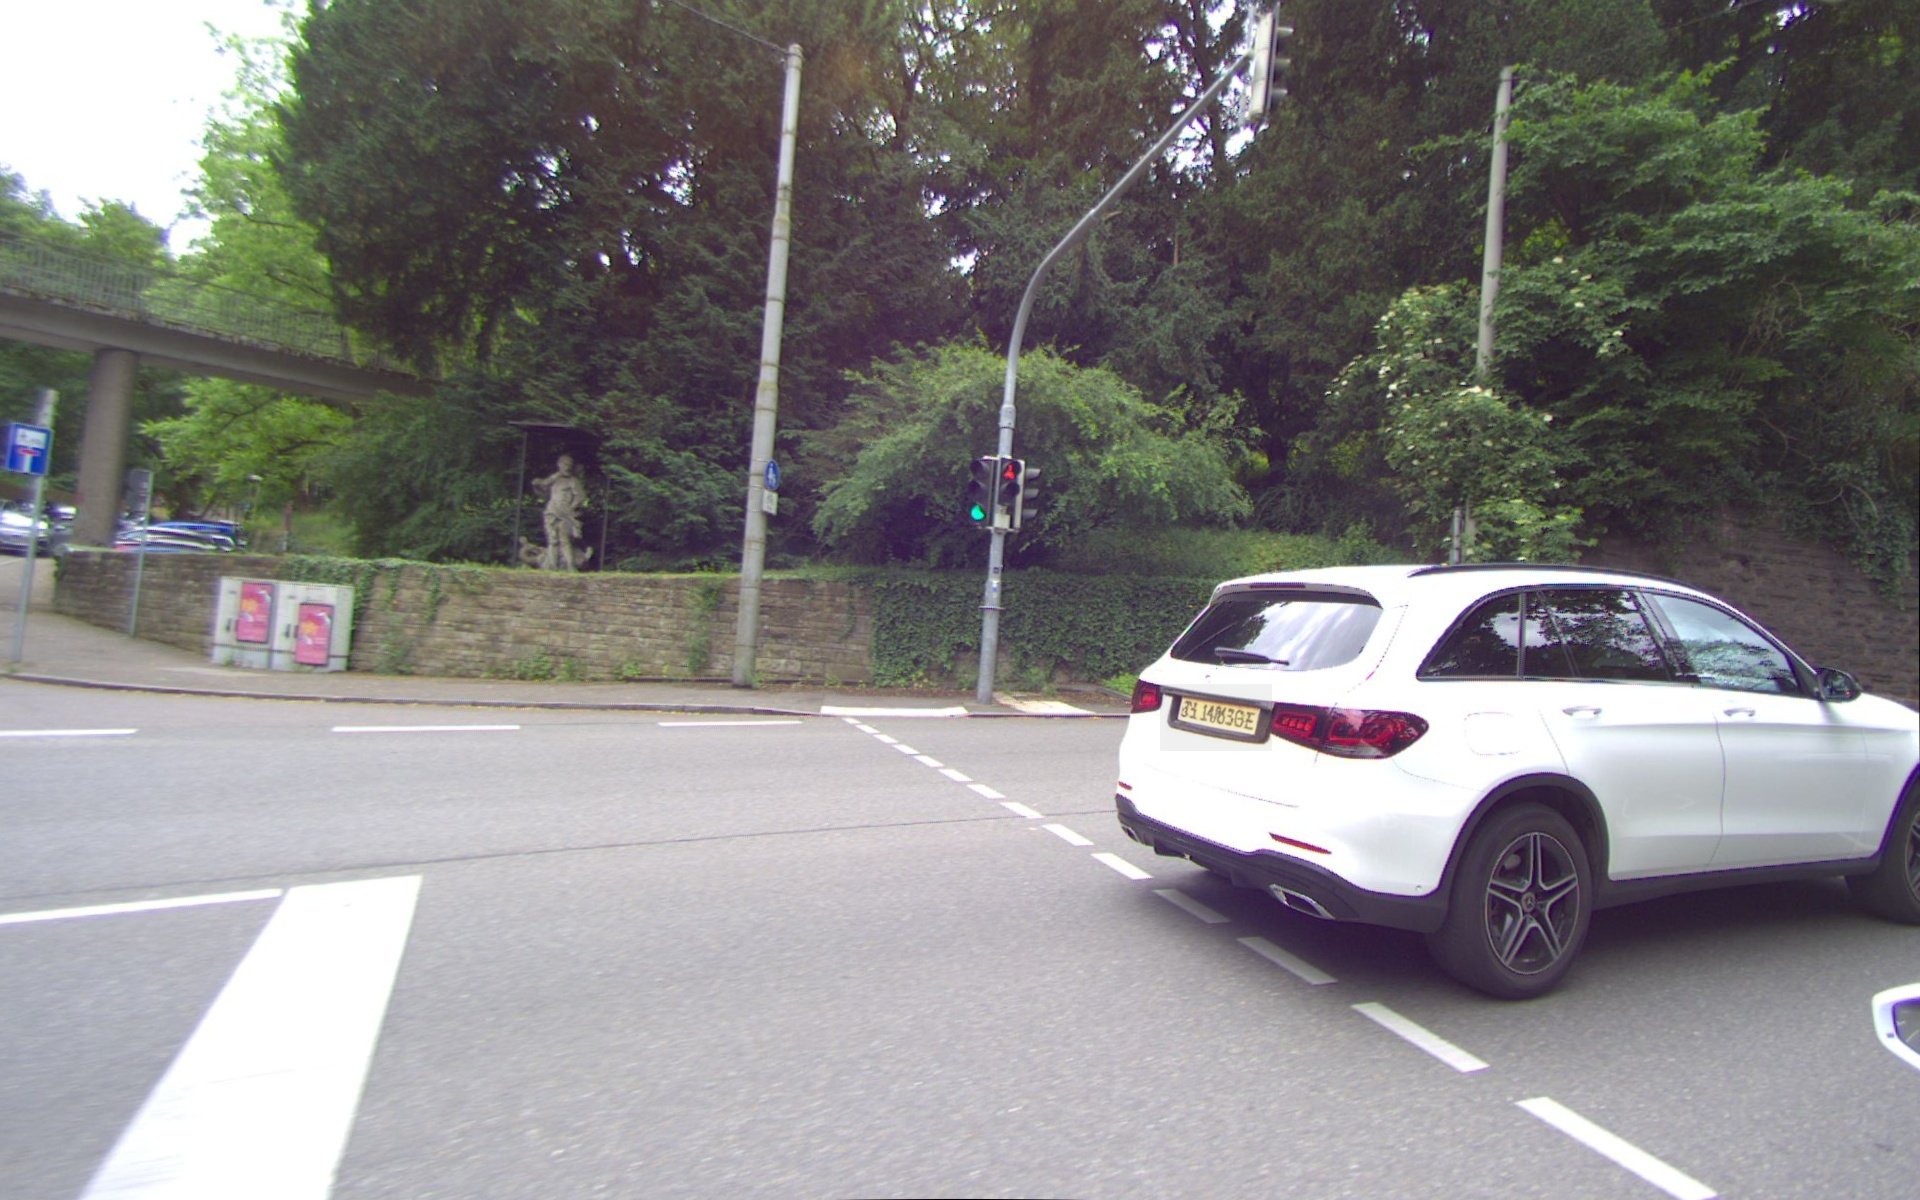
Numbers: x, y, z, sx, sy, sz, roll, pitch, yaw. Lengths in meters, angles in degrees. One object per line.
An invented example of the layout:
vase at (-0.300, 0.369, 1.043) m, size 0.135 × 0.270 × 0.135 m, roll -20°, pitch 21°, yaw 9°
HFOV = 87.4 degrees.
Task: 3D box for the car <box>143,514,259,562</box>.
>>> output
car at (-33.846, -2.740, 44.859) m, size 3.969 × 1.538 × 1.804 m, roll 7°, pitch -2°, yaw -40°

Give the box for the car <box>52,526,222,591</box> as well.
car at (-25.847, -1.295, 31.706) m, size 3.969 × 1.538 × 1.804 m, roll 6°, pitch 0°, yaw -40°

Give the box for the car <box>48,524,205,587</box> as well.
car at (-28.755, -1.530, 34.817) m, size 3.970 × 1.538 × 1.804 m, roll 9°, pitch -1°, yaw -40°

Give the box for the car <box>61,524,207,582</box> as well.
car at (-30.435, -1.736, 37.159) m, size 3.970 × 1.538 × 1.804 m, roll 9°, pitch -2°, yaw -40°

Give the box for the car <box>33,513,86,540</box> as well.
car at (-56.816, -4.585, 63.414) m, size 1.740 × 1.452 × 3.966 m, roll 2°, pitch 1°, yaw -31°

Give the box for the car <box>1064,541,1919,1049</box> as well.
car at (2.999, 0.640, 4.989) m, size 4.606 × 1.627 × 1.853 m, roll 1°, pitch 2°, yaw -24°

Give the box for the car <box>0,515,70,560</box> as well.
car at (-36.318, -2.463, 39.369) m, size 1.746 × 1.451 × 3.956 m, roll 7°, pitch -1°, yaw -38°

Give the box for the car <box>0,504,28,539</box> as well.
car at (-53.198, -4.339, 55.249) m, size 1.978 × 1.773 × 3.966 m, roll 2°, pitch 1°, yaw -31°

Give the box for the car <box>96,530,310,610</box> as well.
car at (-19.166, -0.736, 25.567) m, size 1.749 × 1.572 × 3.983 m, roll 5°, pitch -1°, yaw 39°

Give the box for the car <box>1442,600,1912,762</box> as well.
car at (7.767, 0.870, 11.015) m, size 4.318 × 1.563 × 1.633 m, roll 2°, pitch -1°, yaw -10°
